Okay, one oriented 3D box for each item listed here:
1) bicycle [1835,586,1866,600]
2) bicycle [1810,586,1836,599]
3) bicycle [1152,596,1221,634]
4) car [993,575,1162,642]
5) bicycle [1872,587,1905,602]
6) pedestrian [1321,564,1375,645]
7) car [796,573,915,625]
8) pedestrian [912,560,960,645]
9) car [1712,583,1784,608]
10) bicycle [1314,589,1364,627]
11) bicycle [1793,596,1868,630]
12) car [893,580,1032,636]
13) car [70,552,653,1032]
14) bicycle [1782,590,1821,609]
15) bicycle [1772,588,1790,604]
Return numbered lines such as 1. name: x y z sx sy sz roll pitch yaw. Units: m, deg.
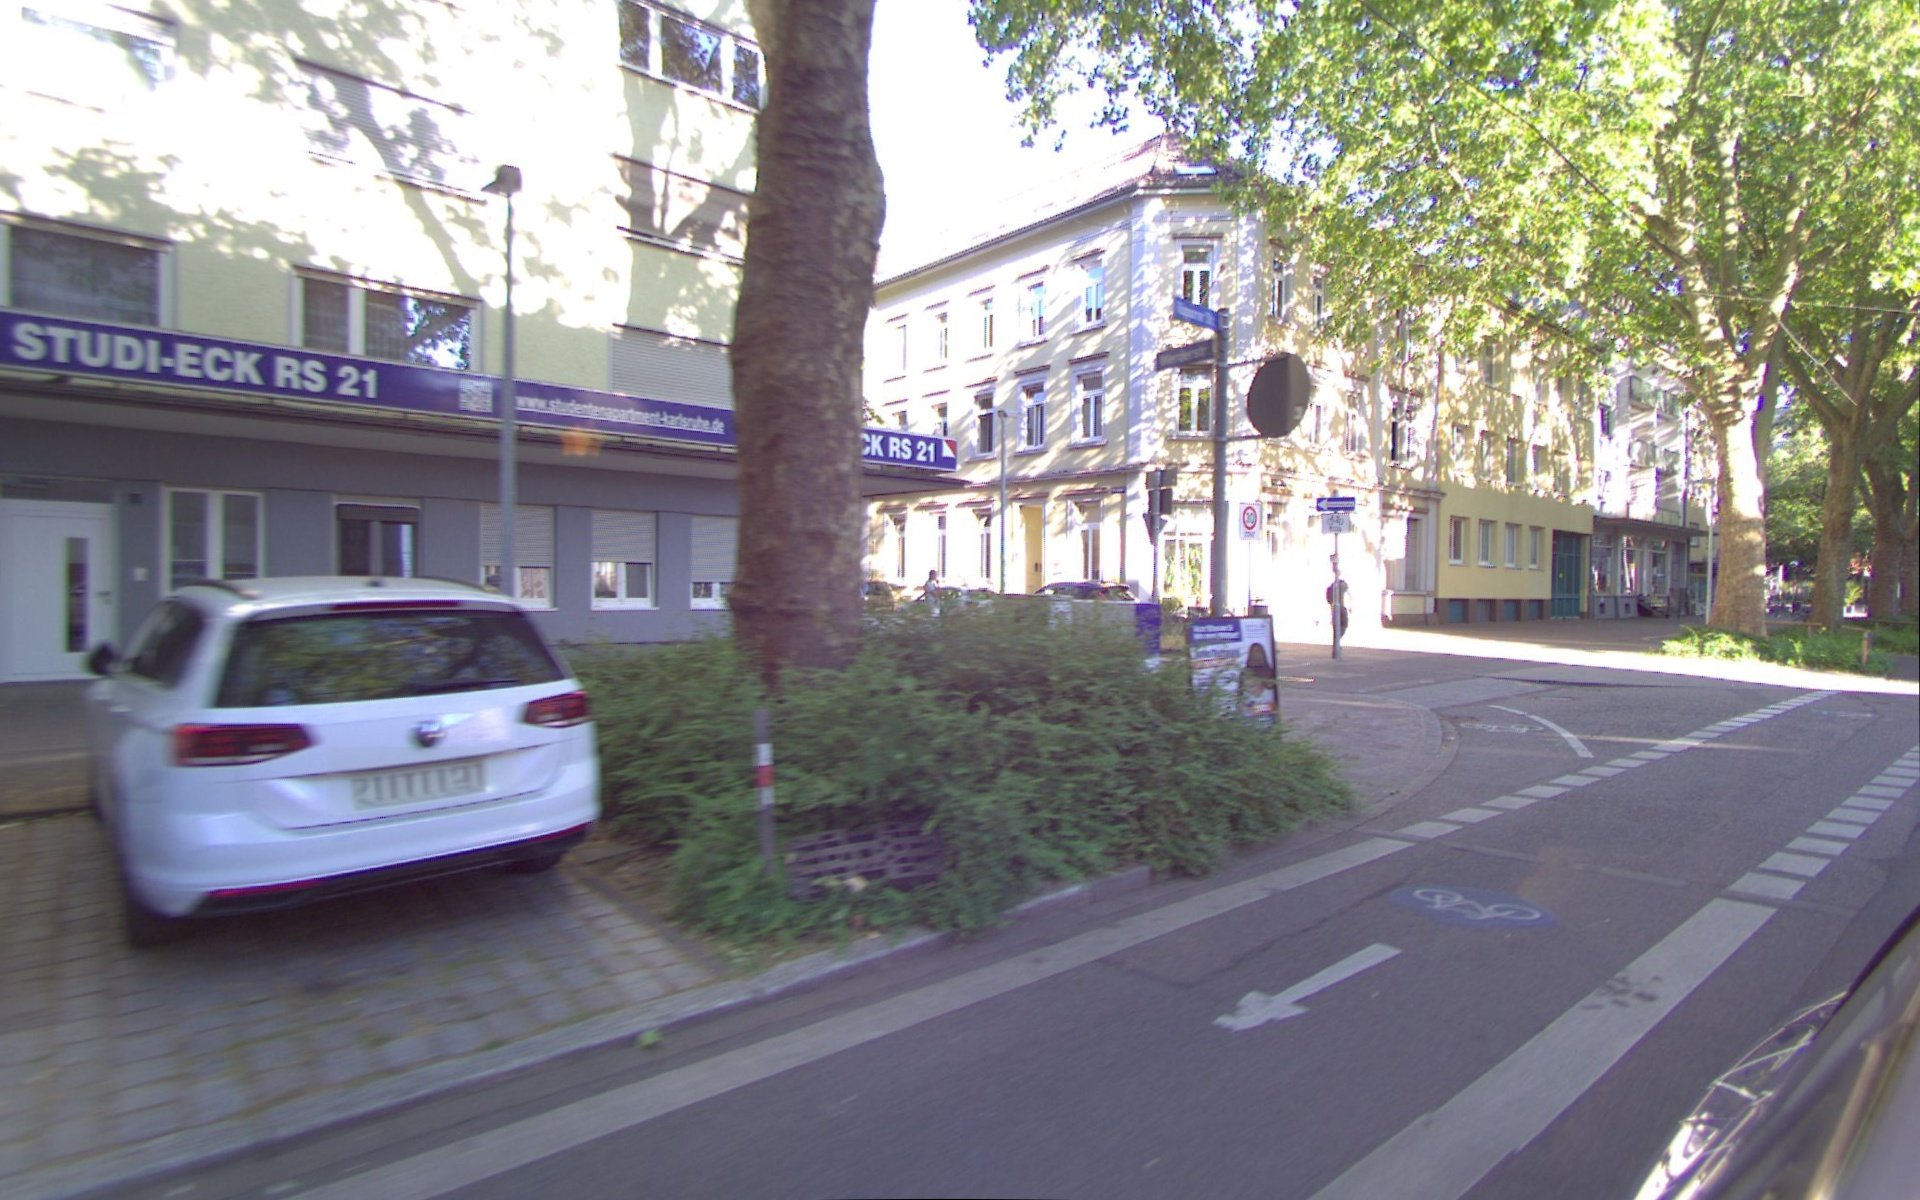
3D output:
1. bicycle: 81.121 -0.615 92.178 0.561 1.171 2.039 0 3 -35
2. bicycle: 79.900 -0.704 93.721 0.561 1.171 1.684 0 3 -35
3. bicycle: 6.202 0.414 27.677 1.808 1.020 0.567 0 0 15
4. car: 3.048 0.162 26.739 1.968 1.613 4.133 -1 1 -45
5. bicycle: 82.786 -0.499 90.277 0.560 1.171 2.041 0 3 -30
6. pedestrian: 9.256 0.087 24.142 1.169 1.890 0.767 0 1 -44
7. car: -3.659 -0.060 35.028 1.966 1.657 4.136 3 -1 -43
8. pedestrian: -0.487 0.037 20.451 0.654 1.665 0.748 0 1 -39
9. car: 58.145 -0.334 74.716 1.833 1.714 3.869 0 2 -40
10. bicycle: 11.773 0.232 31.407 1.889 1.117 0.583 -1 3 -41
11. bicycle: 30.166 0.452 35.117 0.500 1.018 1.975 1 4 -15
12. car: 0.028 0.187 30.836 1.967 1.522 4.136 -2 3 -43
13. car: -3.448 0.546 5.357 1.800 1.498 4.302 0 1 -43
14. bicycle: 55.162 -0.040 66.373 1.781 1.171 0.739 3 3 28
15. bicycle: 62.459 -0.314 76.985 1.666 1.171 0.602 0 3 -38
